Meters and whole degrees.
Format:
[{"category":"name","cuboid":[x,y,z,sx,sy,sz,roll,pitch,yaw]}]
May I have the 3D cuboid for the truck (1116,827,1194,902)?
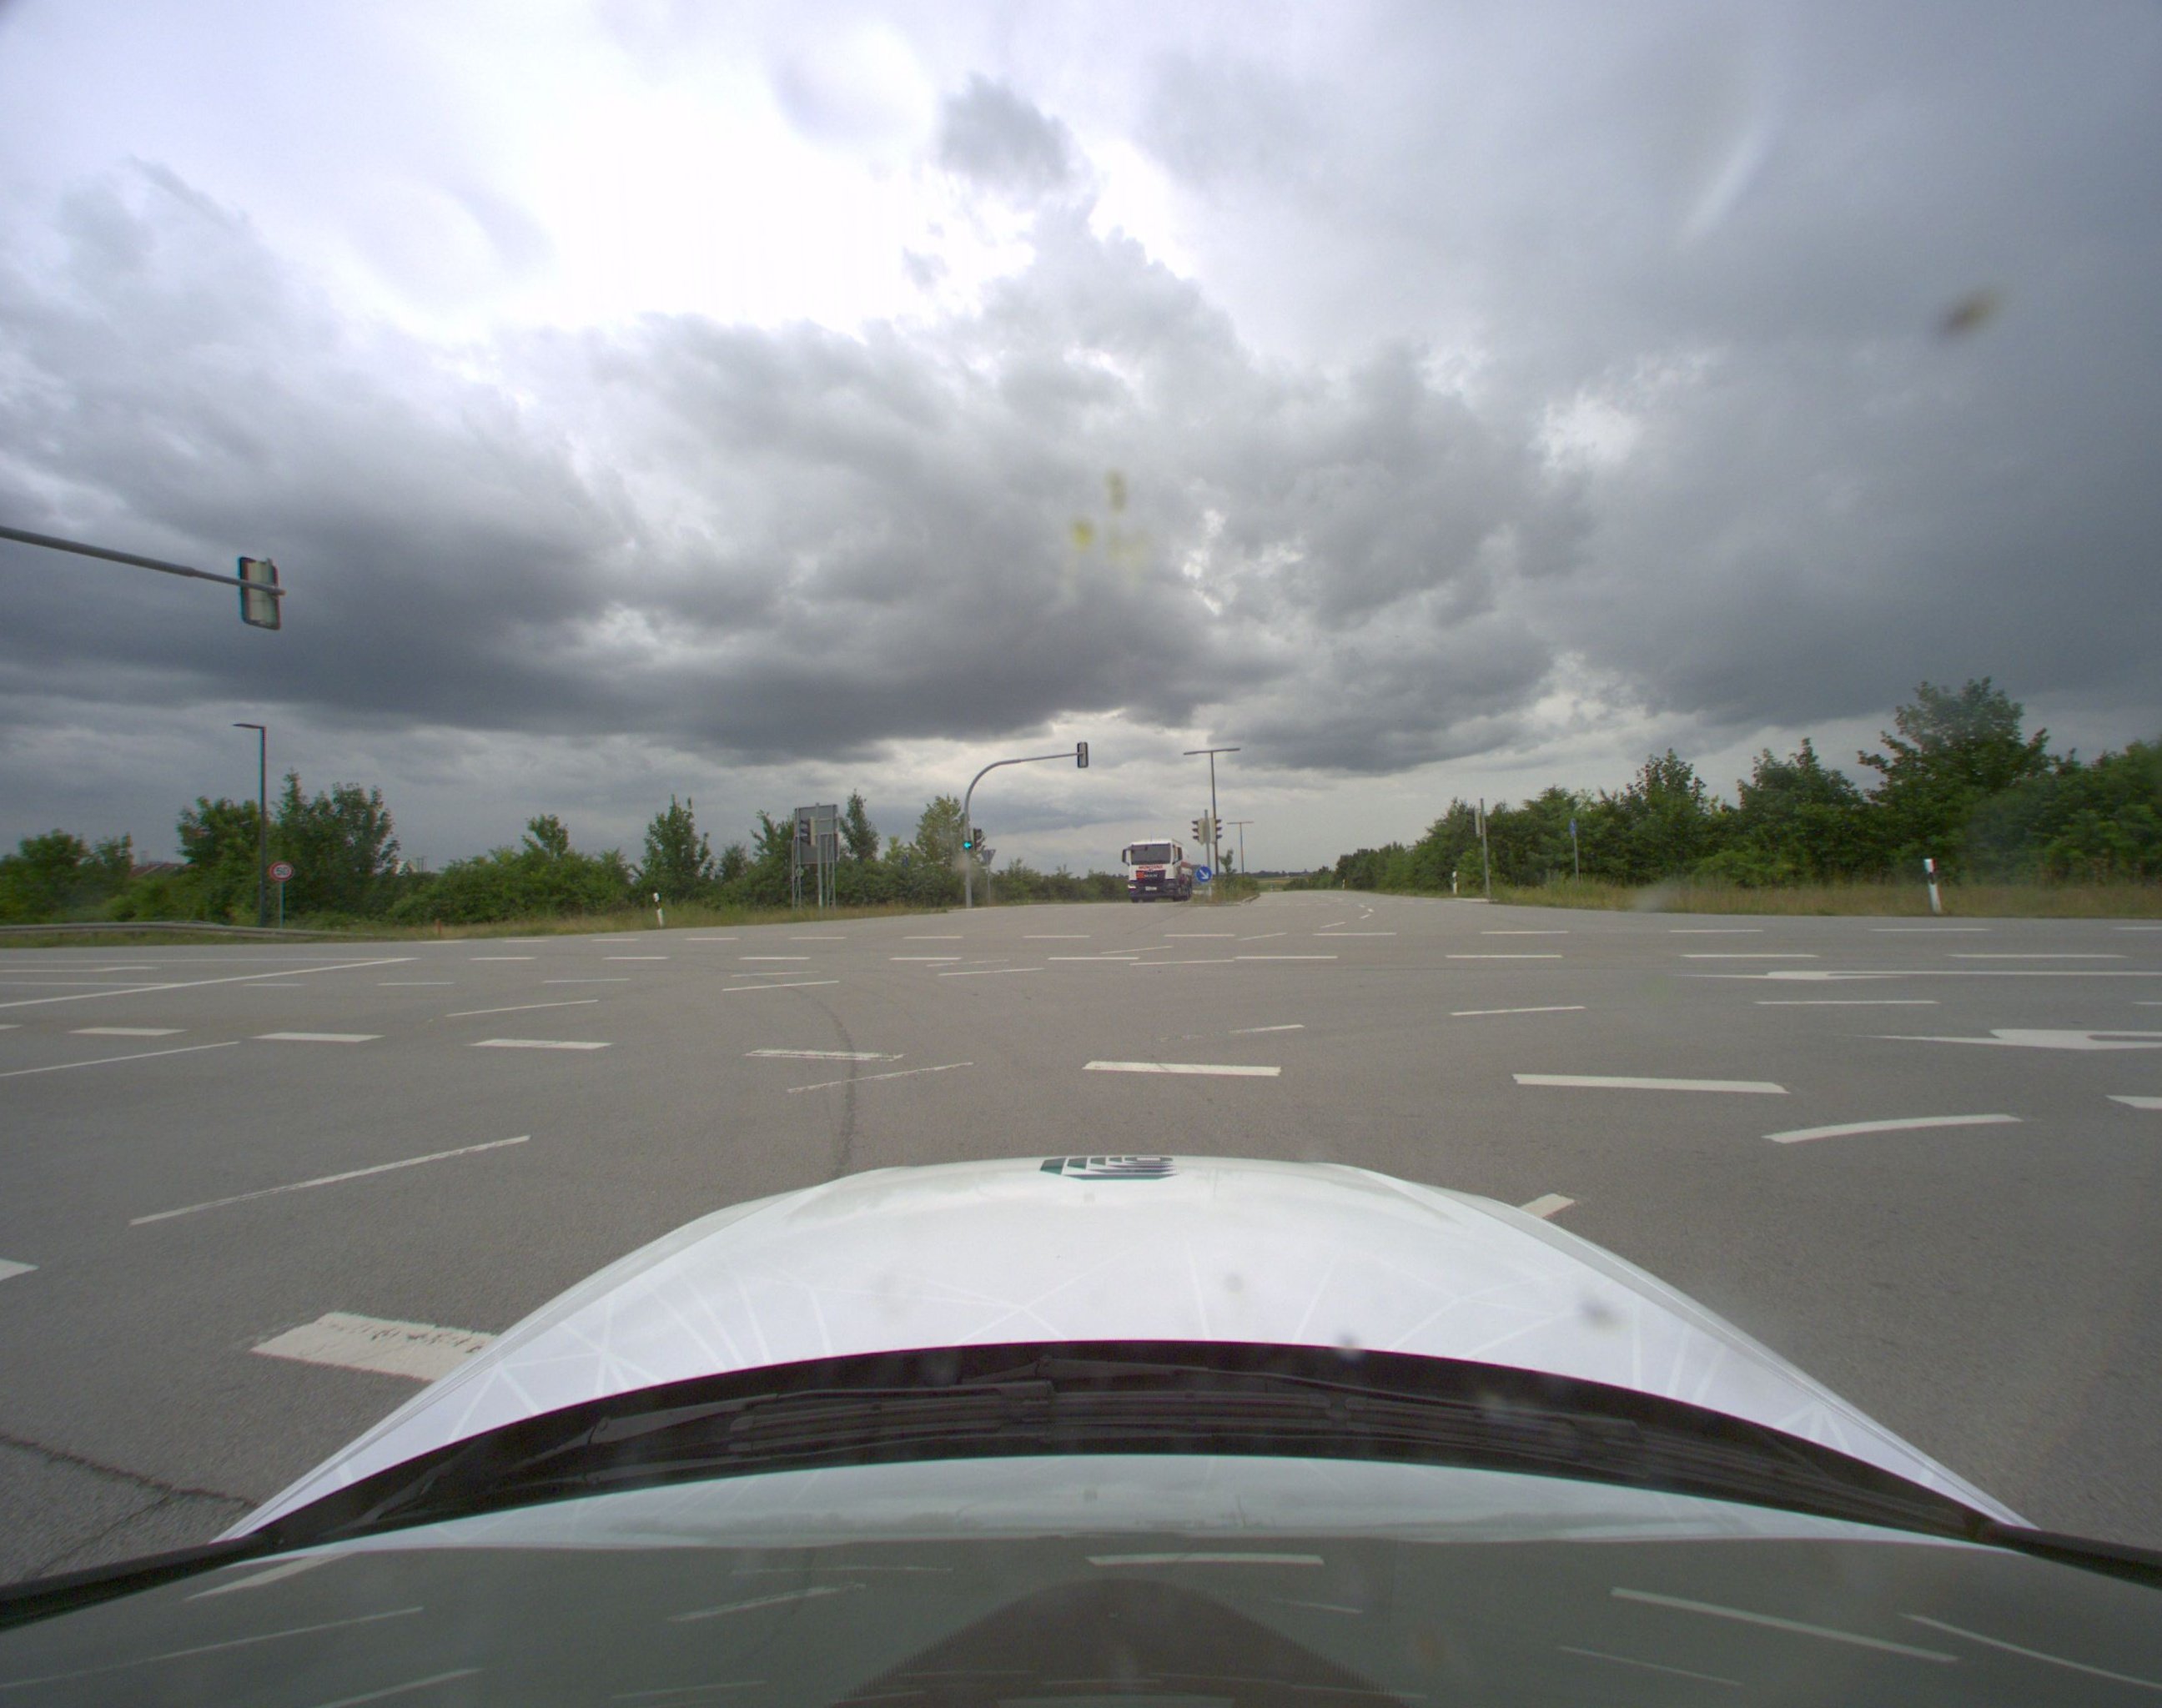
[{"category":"truck","cuboid":[4.081,0.652,42.786,2.850,3.409,8.678,-3,-3,12]}]
